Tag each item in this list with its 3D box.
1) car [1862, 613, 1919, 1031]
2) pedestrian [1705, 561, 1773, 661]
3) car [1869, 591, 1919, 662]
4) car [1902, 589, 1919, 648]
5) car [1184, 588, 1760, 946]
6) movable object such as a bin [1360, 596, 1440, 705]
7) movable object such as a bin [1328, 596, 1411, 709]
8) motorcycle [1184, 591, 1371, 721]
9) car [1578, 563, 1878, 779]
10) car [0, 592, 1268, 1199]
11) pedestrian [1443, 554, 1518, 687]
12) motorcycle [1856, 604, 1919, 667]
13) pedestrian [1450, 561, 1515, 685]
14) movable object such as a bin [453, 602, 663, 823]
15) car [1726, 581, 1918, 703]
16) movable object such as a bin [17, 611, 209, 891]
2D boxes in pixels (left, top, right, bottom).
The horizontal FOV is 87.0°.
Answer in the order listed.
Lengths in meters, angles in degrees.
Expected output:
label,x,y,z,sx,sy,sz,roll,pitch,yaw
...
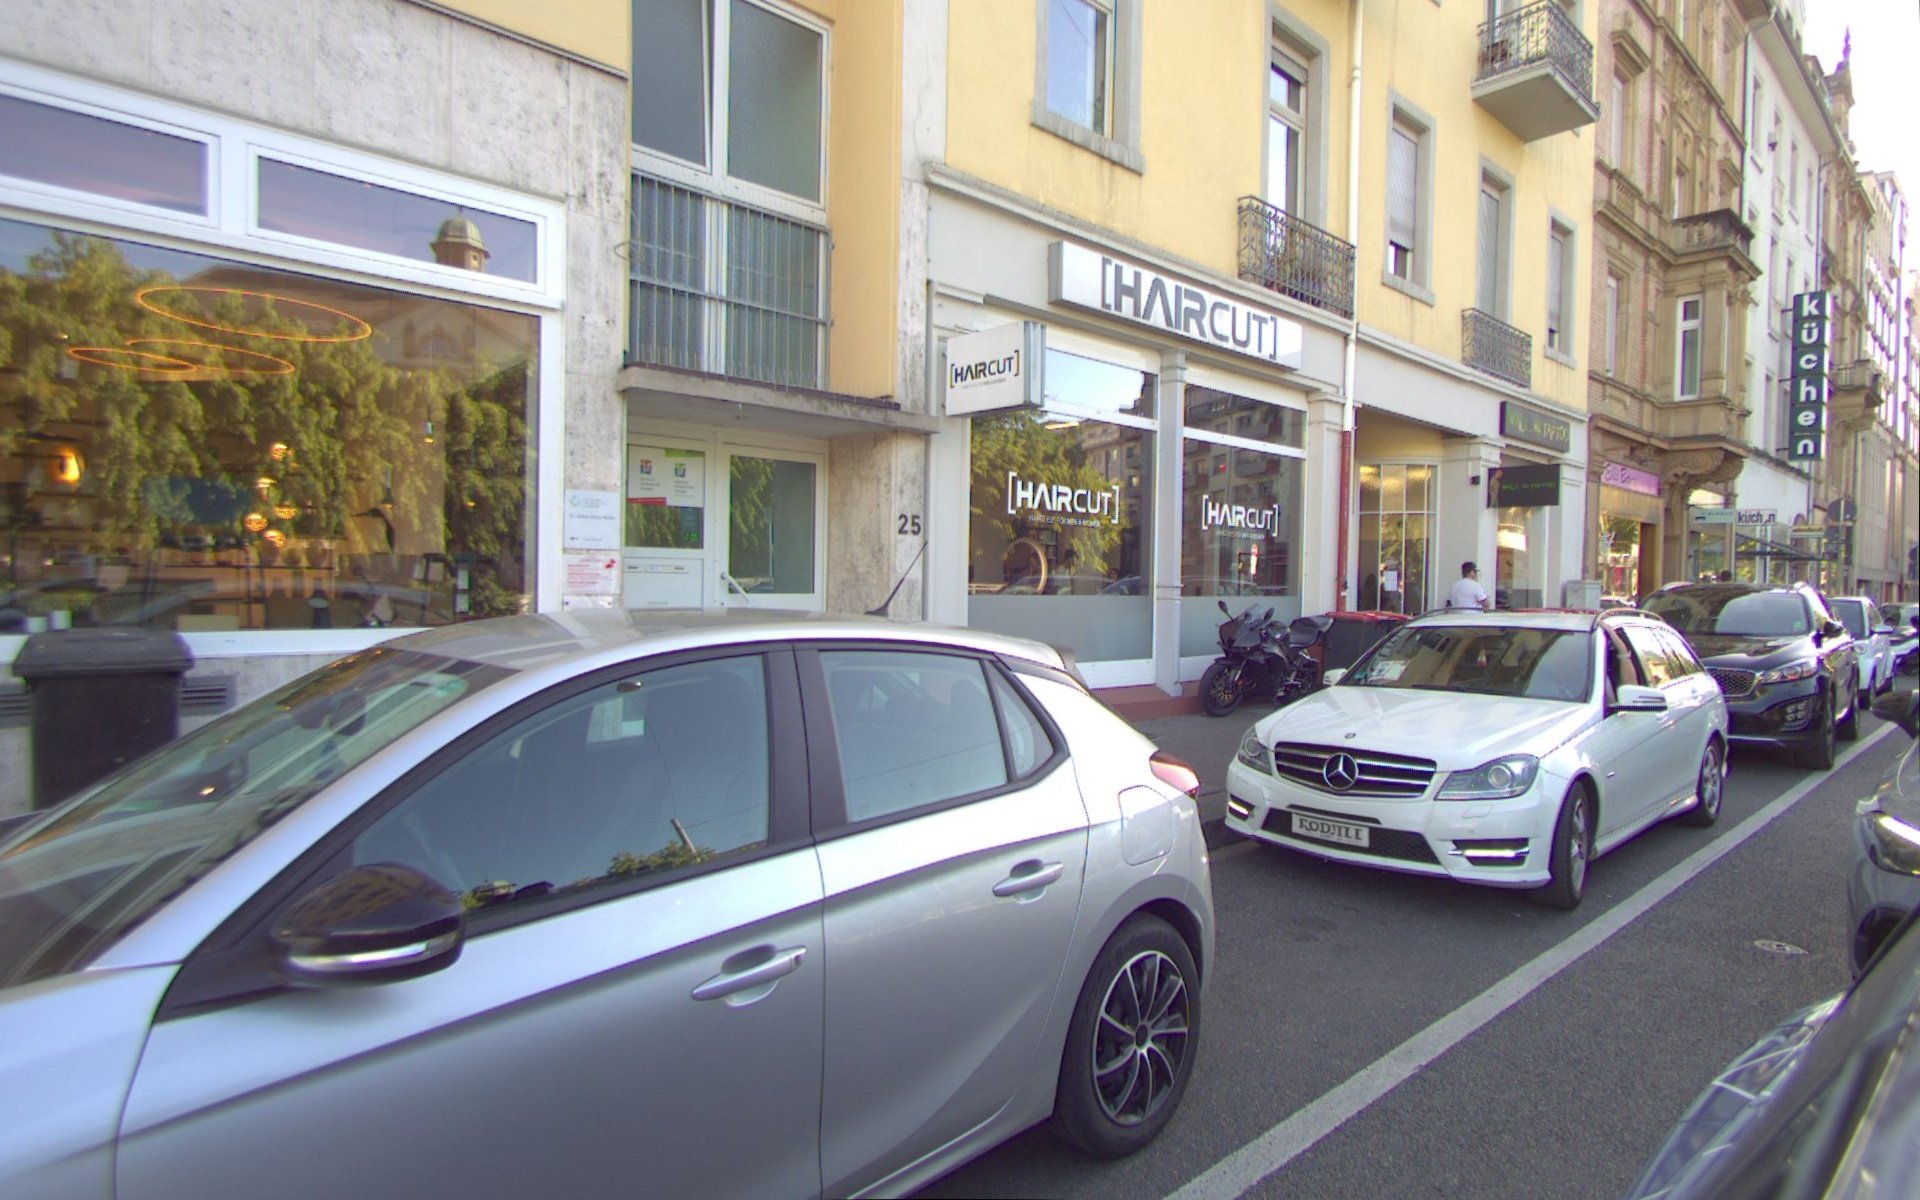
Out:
label,x,y,z,sx,sy,sz,roll,pitch,yaw
car,5.331,0.770,4.283,4.183,1.396,1.846,0,1,-42
pedestrian,13.170,0.177,17.109,0.750,1.637,0.794,0,1,-43
car,22.203,0.570,23.129,3.931,1.504,1.713,0,1,-42
car,26.426,0.486,26.890,3.931,1.504,1.713,0,1,-42
car,3.487,0.680,6.409,4.519,1.480,1.757,0,1,-42
movable object such as a bin,5.174,0.566,11.915,0.633,1.222,0.647,0,0,-40
movable object such as a bin,4.664,0.572,11.525,0.633,1.222,0.647,0,0,-40
motorcycle,3.349,0.523,10.552,2.208,1.179,0.773,0,4,-41
car,7.992,0.537,10.344,1.853,1.719,4.623,1,1,45
car,-1.003,0.702,2.343,3.642,1.415,1.652,0,1,-42
pedestrian,6.696,0.247,13.018,0.689,1.637,0.641,0,0,-42
motorcycle,19.314,0.712,20.546,1.514,1.248,0.771,1,0,1
pedestrian,7.117,0.296,13.790,0.631,1.637,0.572,0,0,-40
movable object such as a bin,-2.208,0.555,5.555,0.878,1.066,0.752,0,1,-40
car,12.675,0.533,14.840,2.965,1.587,1.695,0,1,-40
movable object such as a bin,-3.644,0.583,4.378,0.591,1.041,0.812,0,1,-40
